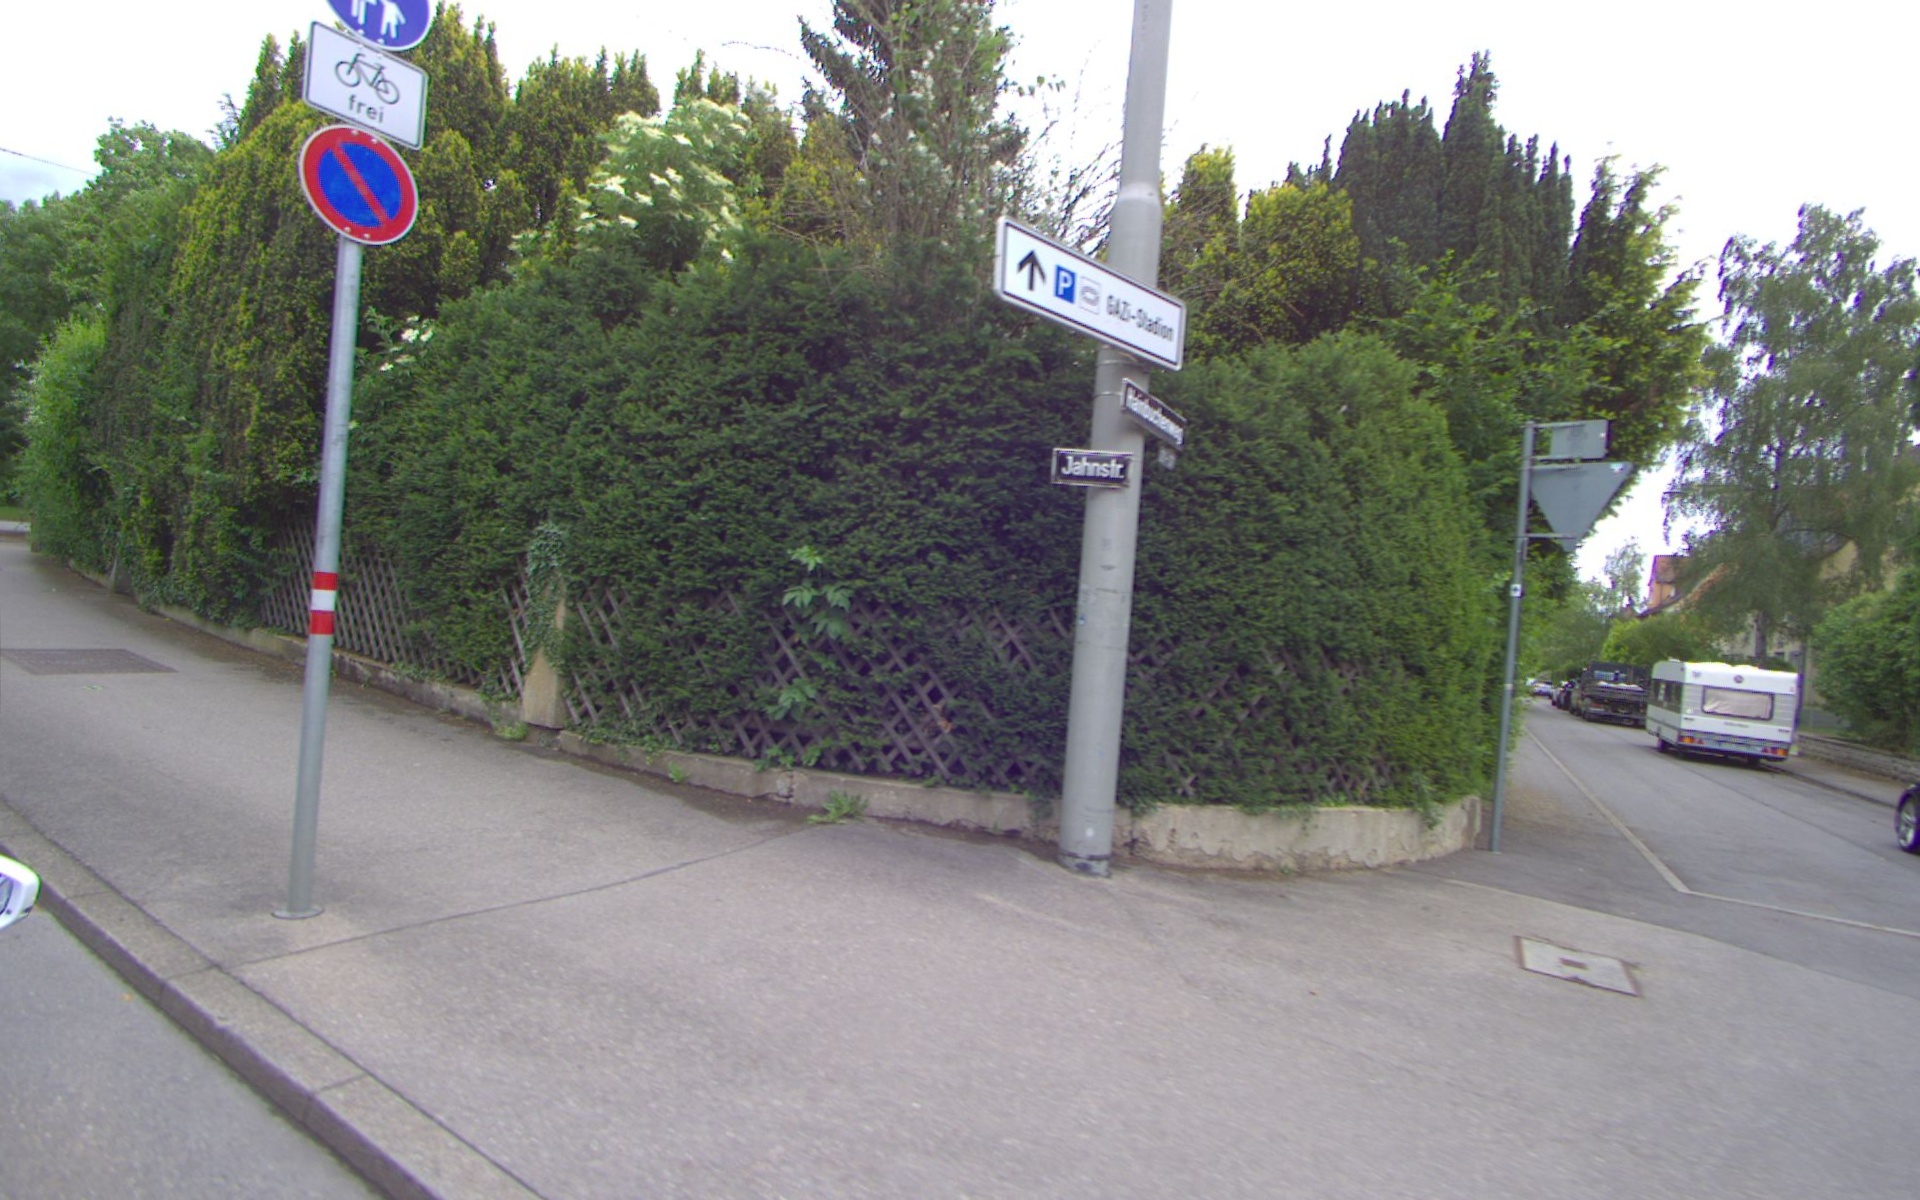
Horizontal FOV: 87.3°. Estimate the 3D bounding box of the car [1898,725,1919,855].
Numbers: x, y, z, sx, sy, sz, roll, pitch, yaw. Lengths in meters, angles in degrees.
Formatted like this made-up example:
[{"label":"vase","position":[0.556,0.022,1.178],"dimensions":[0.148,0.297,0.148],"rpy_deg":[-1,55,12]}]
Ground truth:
[{"label":"car","position":[11.215,2.176,9.848],"dimensions":[1.966,1.459,3.994],"rpy_deg":[7,-1,30]}]
